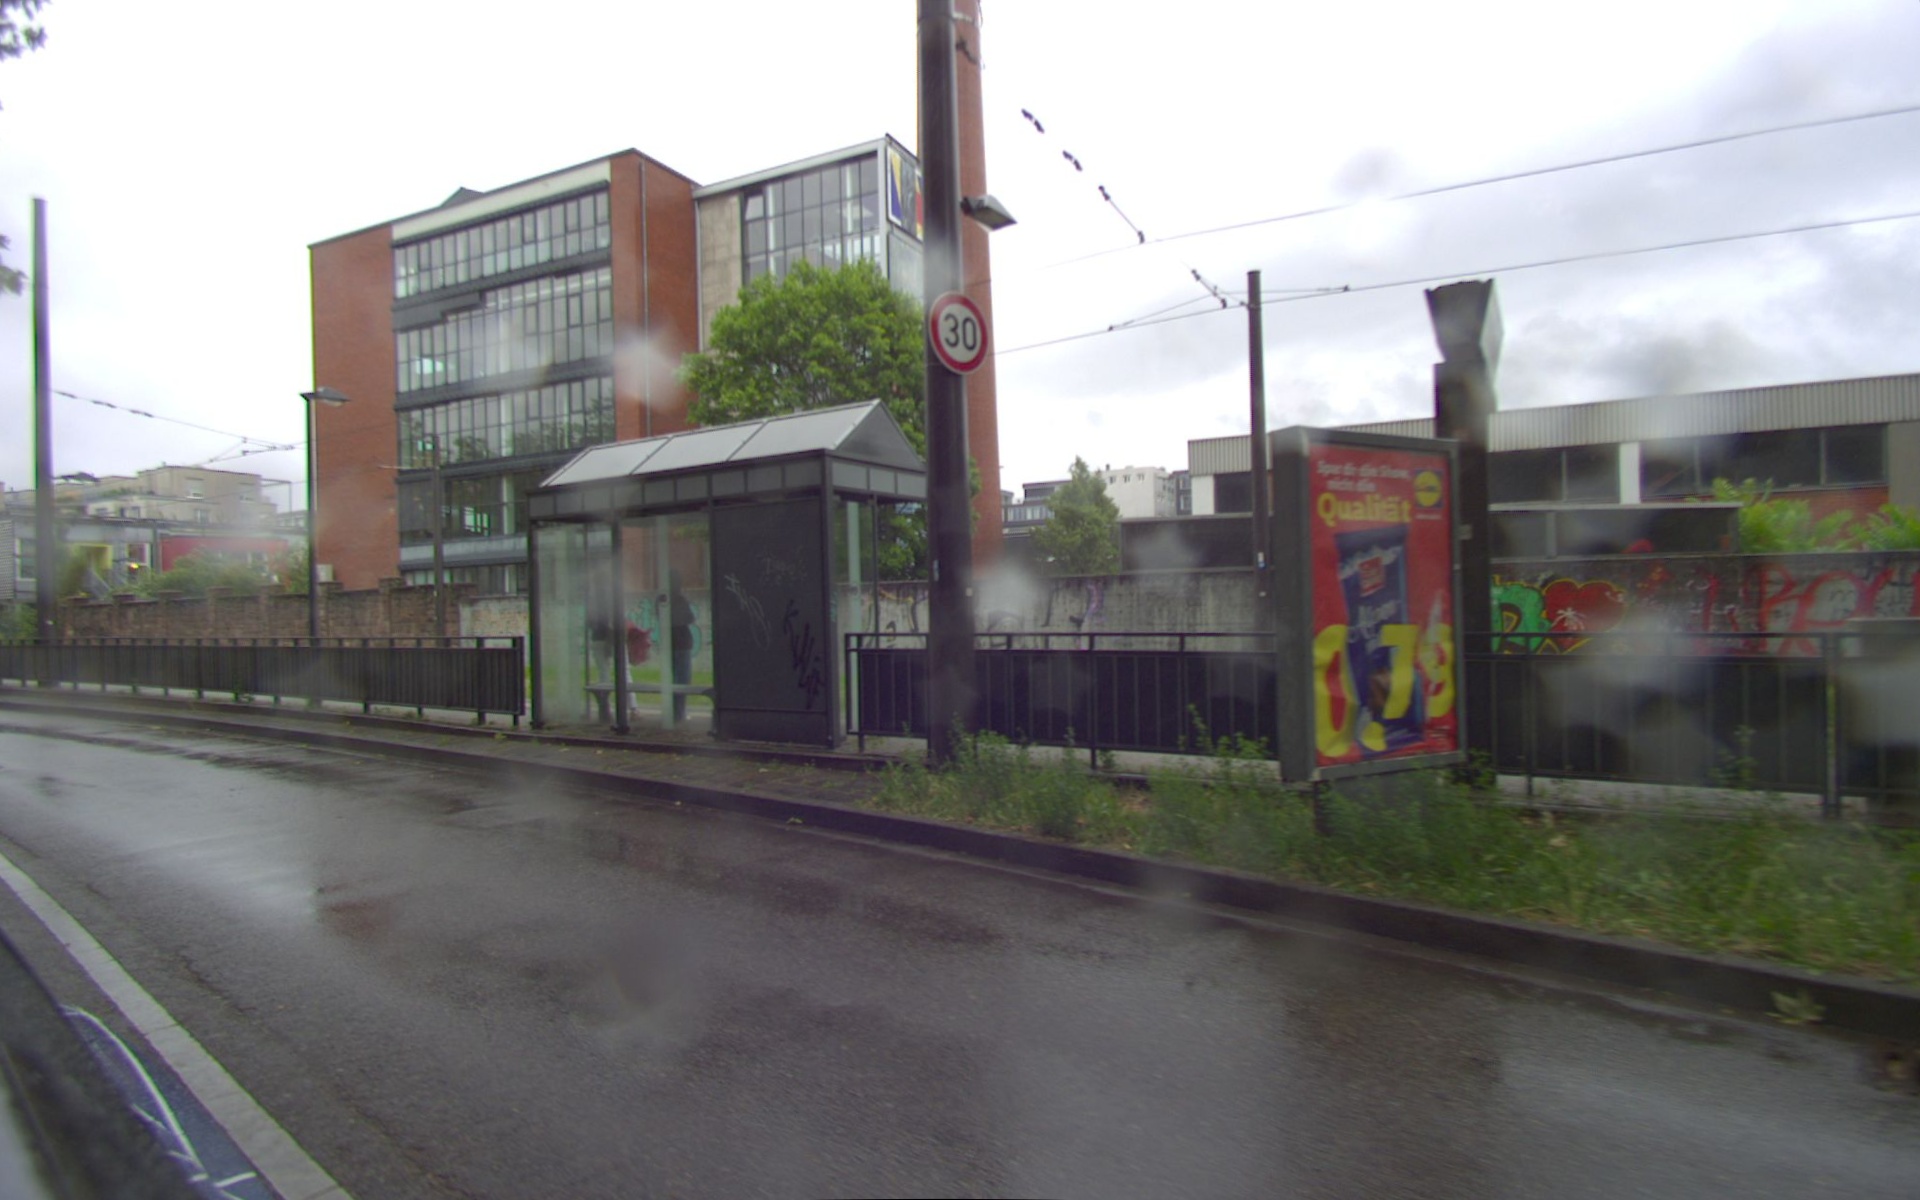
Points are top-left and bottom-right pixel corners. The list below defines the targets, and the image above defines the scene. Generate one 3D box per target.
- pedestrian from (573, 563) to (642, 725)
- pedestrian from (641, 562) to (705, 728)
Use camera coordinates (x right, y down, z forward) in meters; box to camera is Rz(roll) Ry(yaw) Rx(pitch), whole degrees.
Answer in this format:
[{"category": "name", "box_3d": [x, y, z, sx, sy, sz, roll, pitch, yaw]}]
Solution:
[{"category": "pedestrian", "box_3d": [-3.897, 0.483, 11.214, 0.560, 1.744, 0.583, -1, -2, -1]}, {"category": "pedestrian", "box_3d": [-3.108, 0.482, 10.991, 0.560, 1.744, 0.583, -1, -2, -3]}]
